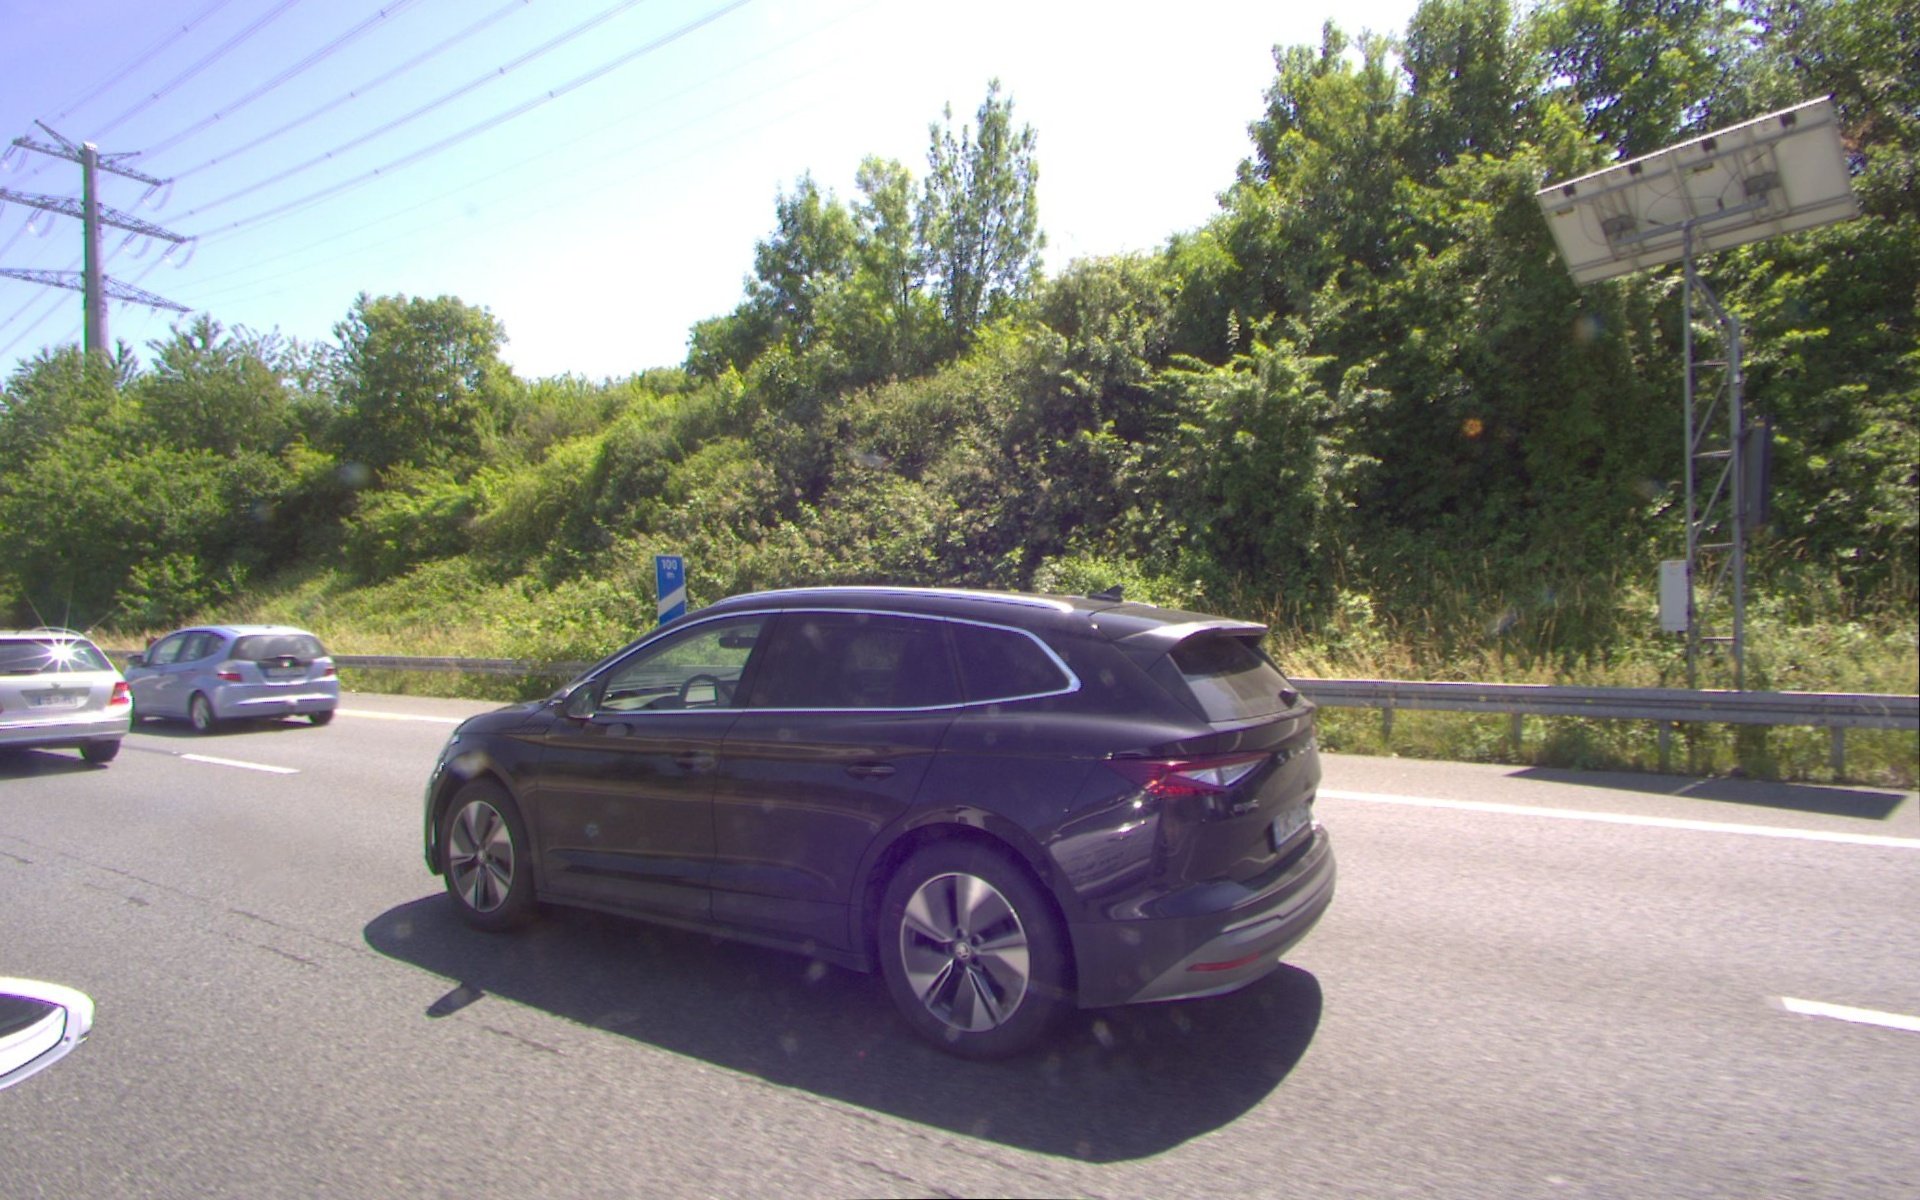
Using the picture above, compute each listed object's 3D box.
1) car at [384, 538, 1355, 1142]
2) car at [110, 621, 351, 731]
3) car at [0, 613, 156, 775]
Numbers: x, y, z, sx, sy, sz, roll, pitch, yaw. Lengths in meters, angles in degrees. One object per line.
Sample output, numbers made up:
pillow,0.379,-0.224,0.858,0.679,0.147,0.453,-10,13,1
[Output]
car,-0.621,0.730,4.661,4.365,1.676,1.698,-1,-2,31
car,-11.024,1.075,15.089,3.734,1.466,1.698,-1,-2,32
car,-10.801,0.946,10.974,4.297,1.537,1.768,-1,-2,32
